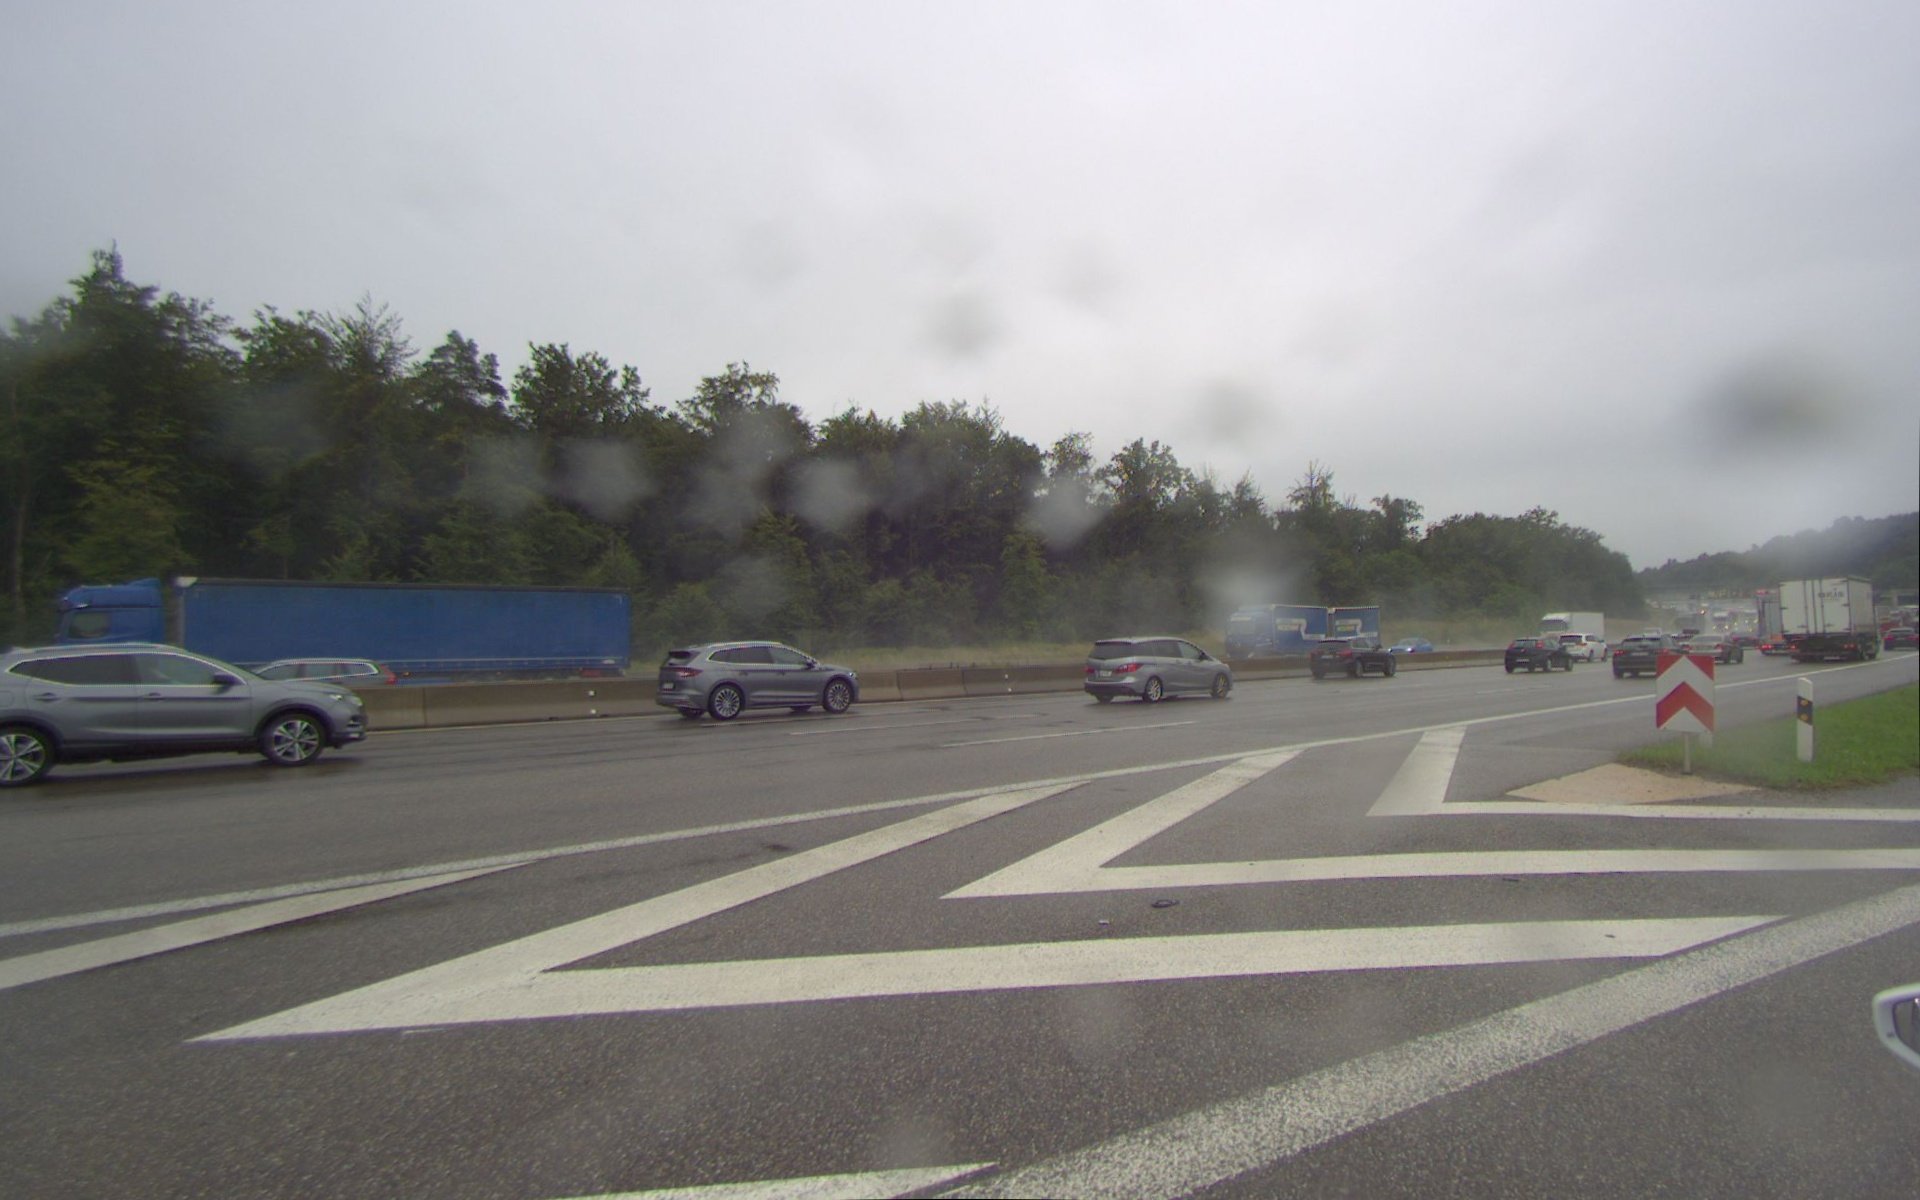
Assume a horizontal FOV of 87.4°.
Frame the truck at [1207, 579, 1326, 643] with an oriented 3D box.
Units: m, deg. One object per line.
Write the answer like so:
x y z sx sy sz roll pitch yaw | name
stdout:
21.437 0.839 69.756 10.485 4.032 3.032 2 0 -43 | truck

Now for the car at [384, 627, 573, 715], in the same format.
-12.151 1.735 25.471 3.969 2.040 1.858 2 -3 -41 | car

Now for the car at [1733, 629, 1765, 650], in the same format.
68.834 3.420 87.634 3.760 1.810 1.681 2 -3 -44 | car

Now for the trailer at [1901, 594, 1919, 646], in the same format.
91.751 1.959 95.103 3.510 4.672 12.052 -4 -4 42 | trailer

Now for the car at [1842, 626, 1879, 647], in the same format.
81.547 3.282 90.917 3.968 1.840 1.977 1 -1 -40 | car

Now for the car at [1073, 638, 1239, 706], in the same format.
5.004 1.775 25.409 4.297 1.546 1.775 1 -3 -39 | car

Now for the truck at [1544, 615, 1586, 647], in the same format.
67.478 3.470 111.969 2.620 3.497 5.565 -3 -3 45 | truck

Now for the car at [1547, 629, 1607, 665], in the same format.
36.264 2.745 59.007 3.971 2.040 1.976 2 -4 -42 | car

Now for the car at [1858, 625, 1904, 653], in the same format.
63.886 2.696 69.657 3.971 1.839 1.975 1 -3 -43 | car

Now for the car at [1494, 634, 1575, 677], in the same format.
24.674 2.341 43.104 4.068 1.758 1.760 2 -3 -41 | car

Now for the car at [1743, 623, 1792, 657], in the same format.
51.064 2.529 63.503 1.974 2.040 3.975 -4 -4 44 | car

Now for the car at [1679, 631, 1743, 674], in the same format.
36.686 2.543 49.046 4.304 1.997 1.771 2 -3 -43 | car

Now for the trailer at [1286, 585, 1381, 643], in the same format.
28.565 1.144 76.544 9.104 4.100 3.060 2 0 -44 | trailer

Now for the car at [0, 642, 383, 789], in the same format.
-9.897 1.359 12.699 4.299 1.595 1.705 1 -4 -40 | car

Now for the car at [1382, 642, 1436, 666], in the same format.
33.477 4.040 74.789 4.334 1.741 1.977 2 -4 -40 | car

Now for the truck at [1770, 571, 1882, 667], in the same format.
43.516 1.080 50.264 11.758 4.348 2.823 2 -4 -43 | truck

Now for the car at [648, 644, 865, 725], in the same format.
-4.395 1.794 22.074 4.422 1.594 1.705 2 -4 -39 | car

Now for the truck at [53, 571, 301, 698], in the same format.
-23.527 1.044 30.438 5.664 3.460 2.739 1 -2 -40 | truck

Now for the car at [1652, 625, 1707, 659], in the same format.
44.451 2.577 62.026 3.971 2.040 1.975 1 -3 -43 | car

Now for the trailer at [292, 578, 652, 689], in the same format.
-16.996 1.209 35.995 11.307 3.462 2.709 2 -2 -40 | trailer

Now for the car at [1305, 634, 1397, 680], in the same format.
15.844 2.283 40.610 4.069 1.758 1.760 2 -4 -42 | car

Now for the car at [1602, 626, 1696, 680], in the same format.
23.798 1.822 34.658 3.818 1.758 1.760 2 -4 -42 | car
